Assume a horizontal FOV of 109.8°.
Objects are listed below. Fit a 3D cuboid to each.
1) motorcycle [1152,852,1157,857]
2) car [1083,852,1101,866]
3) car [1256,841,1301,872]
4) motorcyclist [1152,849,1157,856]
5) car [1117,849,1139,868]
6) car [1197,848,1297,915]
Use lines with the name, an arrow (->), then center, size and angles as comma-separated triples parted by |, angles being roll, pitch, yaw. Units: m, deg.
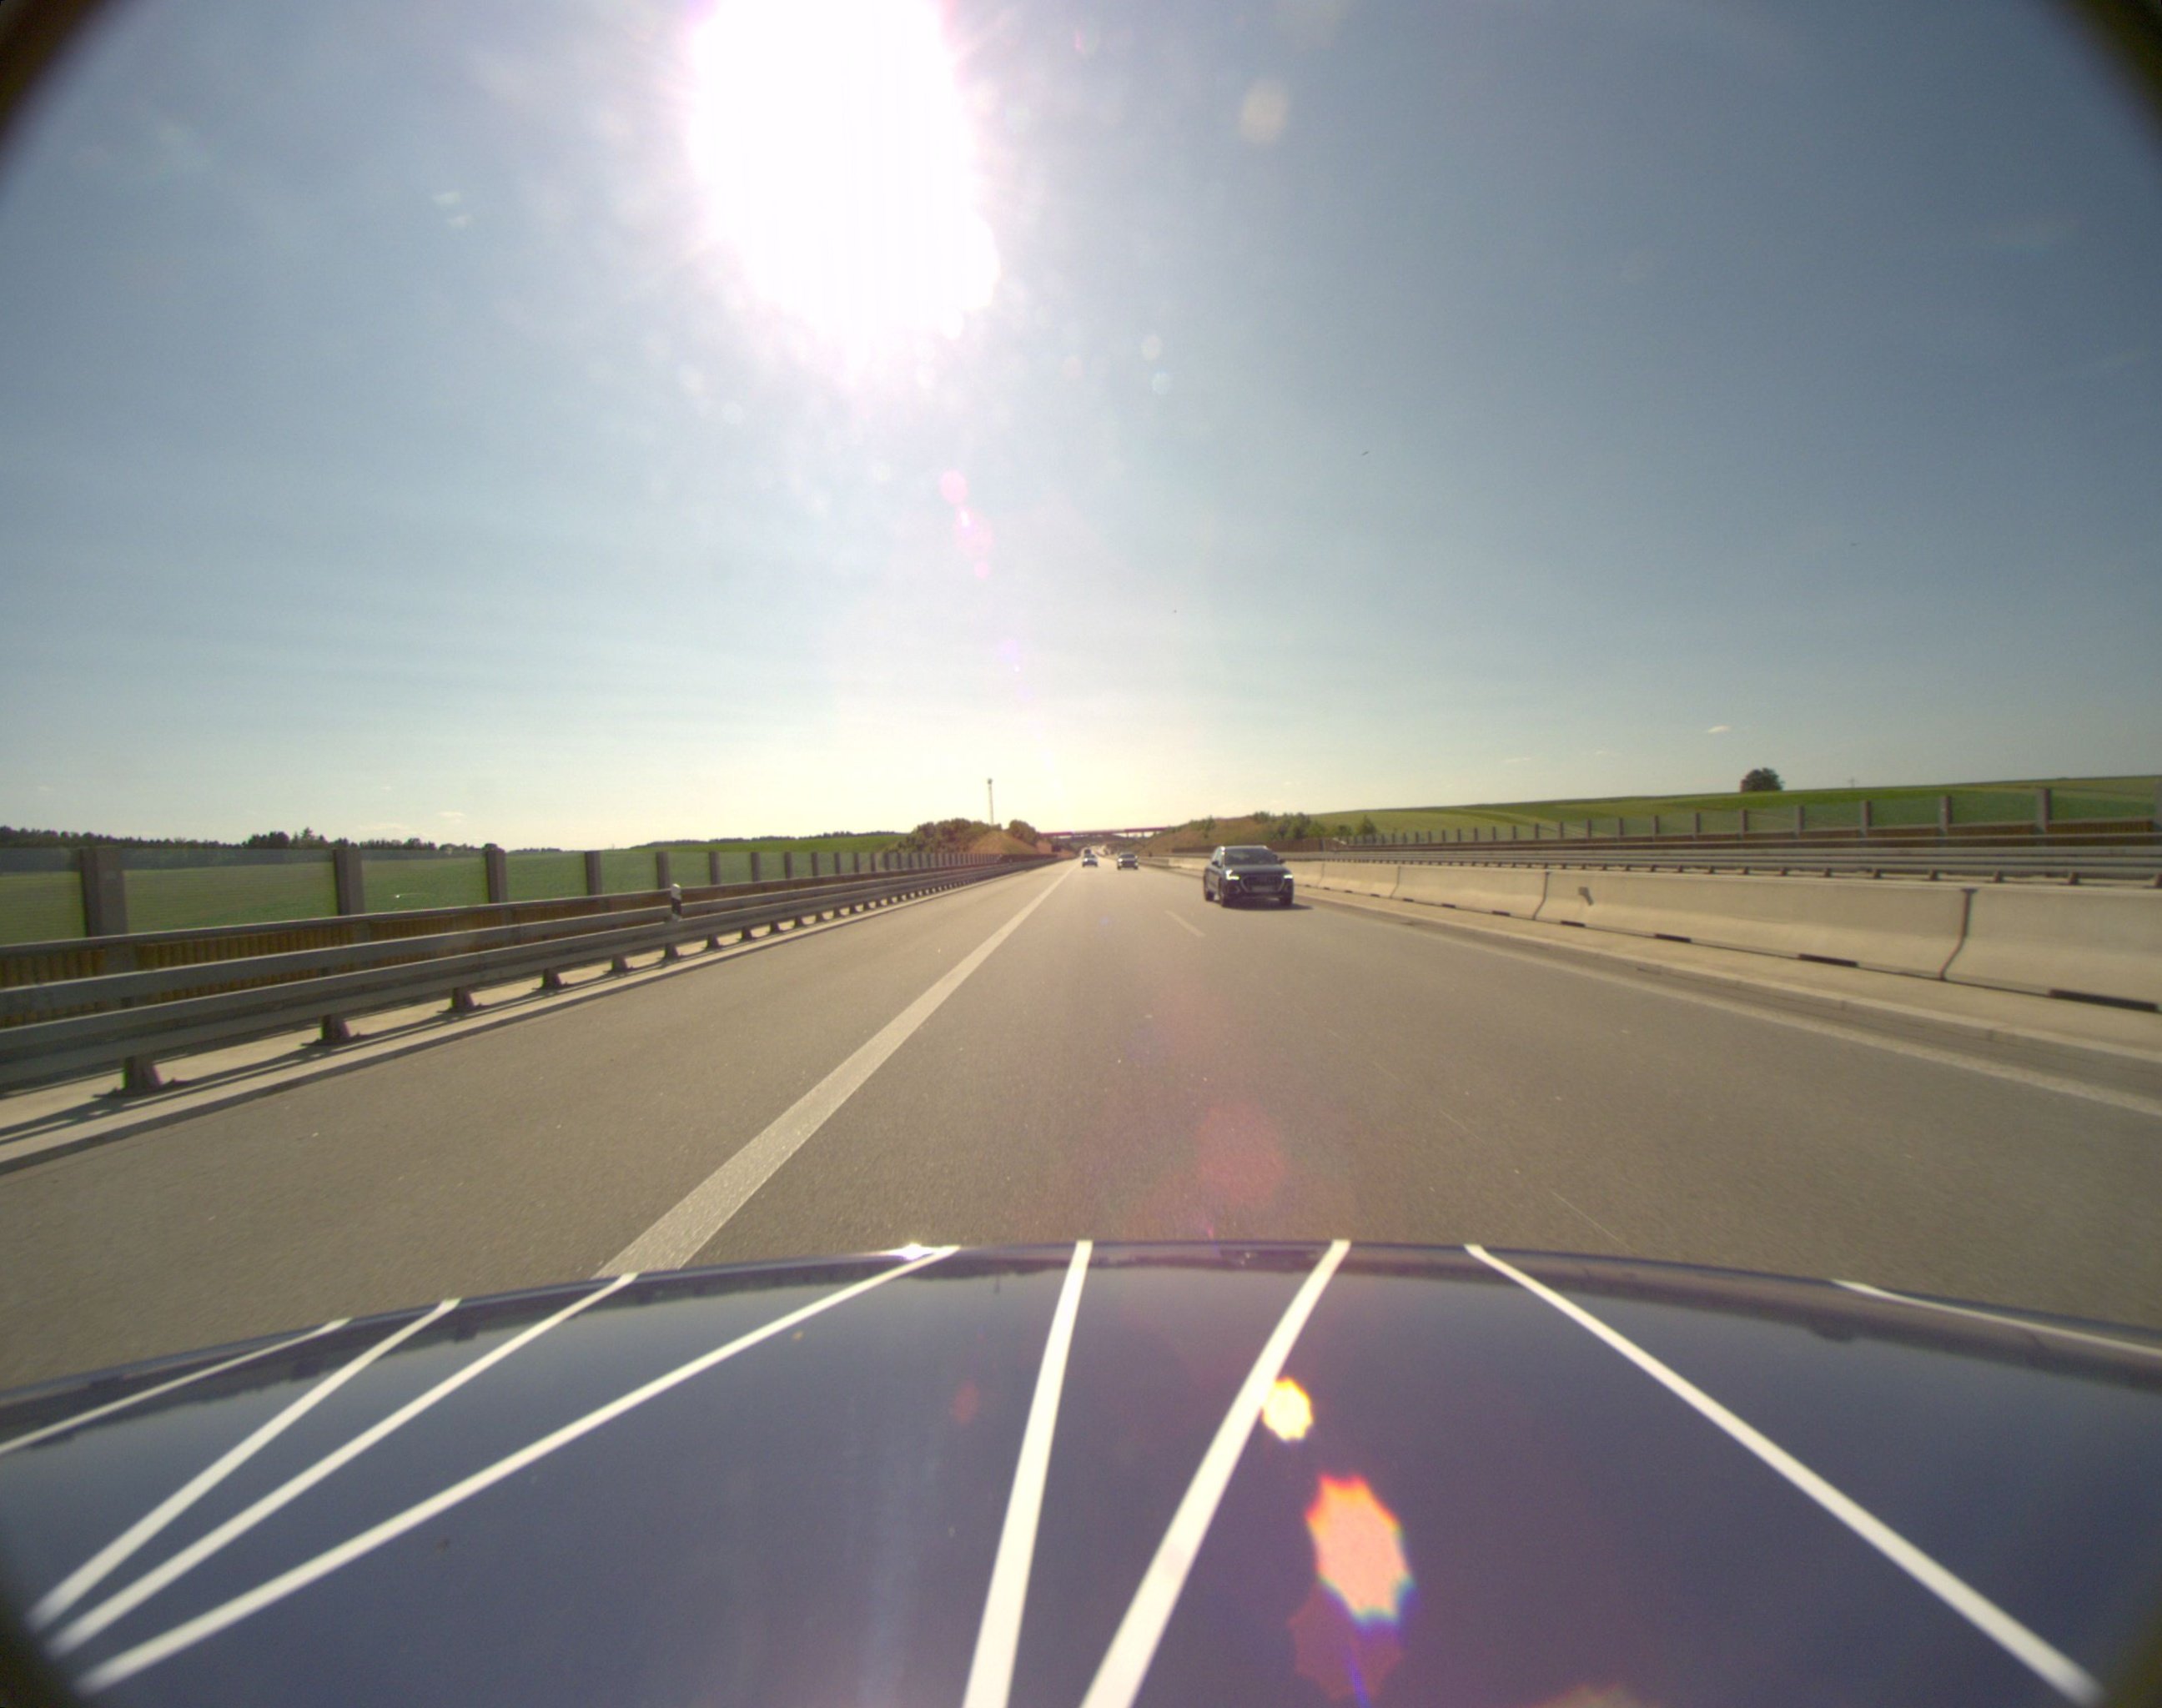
motorcycle -> 17.976, 0.072, 186.530 | 1.016, 1.160, 2.868 | -2, 0, 1
car -> 1.313, 0.541, 87.553 | 1.909, 1.449, 4.375 | -2, 1, 2
car -> 13.832, 0.157, 53.437 | 1.998, 2.002, 4.761 | -2, 1, 2
motorcyclist -> 17.958, -0.365, 186.470 | 1.015, 1.555, 1.428 | -2, 1, 1
car -> 4.308, 0.383, 70.041 | 1.776, 1.560, 4.988 | -2, 1, 1
car -> 4.503, 0.651, 21.414 | 1.726, 1.578, 5.222 | -2, 1, 1
